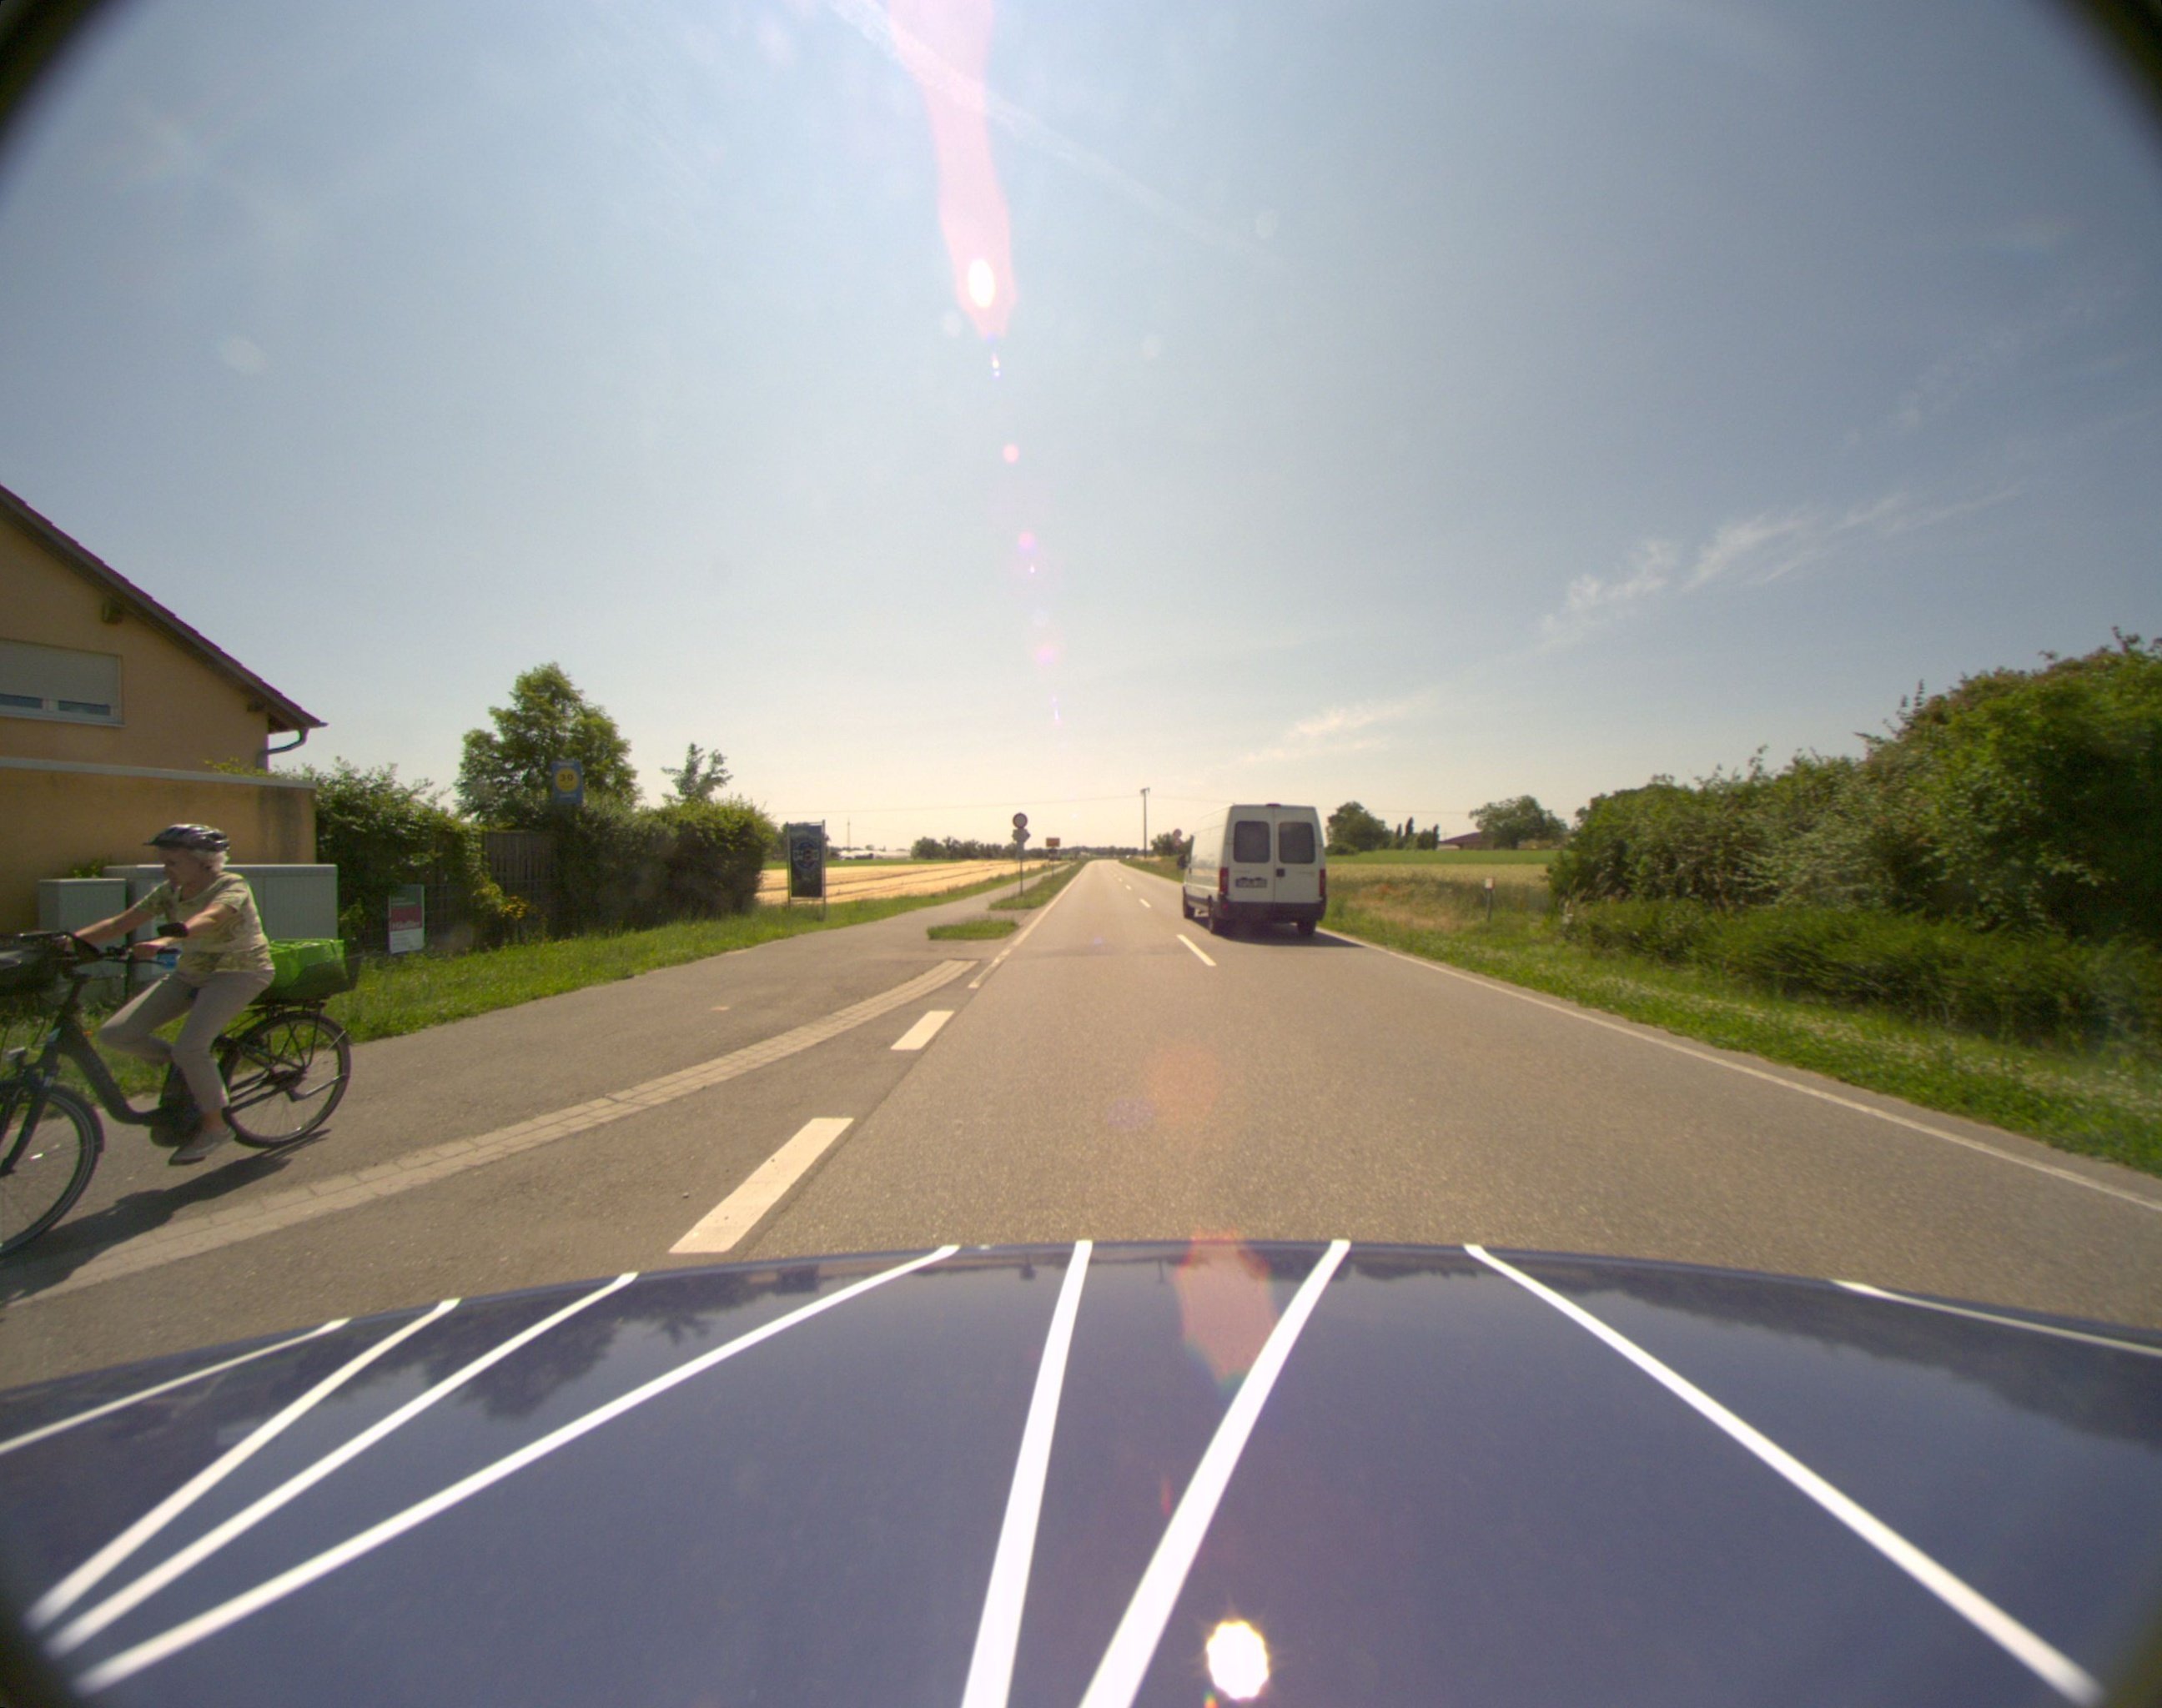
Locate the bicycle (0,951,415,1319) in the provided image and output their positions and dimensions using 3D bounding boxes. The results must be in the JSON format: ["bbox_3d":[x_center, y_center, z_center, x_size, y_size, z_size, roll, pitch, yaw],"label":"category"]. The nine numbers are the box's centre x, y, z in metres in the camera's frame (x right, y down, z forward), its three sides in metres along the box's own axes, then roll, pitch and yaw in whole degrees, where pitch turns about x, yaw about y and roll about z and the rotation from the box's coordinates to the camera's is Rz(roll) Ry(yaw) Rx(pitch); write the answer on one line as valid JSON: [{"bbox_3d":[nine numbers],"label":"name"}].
[{"bbox_3d":[-4.434,1.192,3.537,0.612,1.152,2.274,0,1,1],"label":"bicycle"}]

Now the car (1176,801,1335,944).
[{"bbox_3d":[3.468,0.336,16.456,2.082,2.527,5.873,1,0,0],"label":"car"}]

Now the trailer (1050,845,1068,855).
[{"bbox_3d":[-6.796,-1.243,234.448,5.283,2.936,2.002,1,2,21],"label":"trailer"}]

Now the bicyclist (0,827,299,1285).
[{"bbox_3d":[-4.442,0.829,3.530,0.646,1.879,0.860,-1,1,1],"label":"bicyclist"}]
